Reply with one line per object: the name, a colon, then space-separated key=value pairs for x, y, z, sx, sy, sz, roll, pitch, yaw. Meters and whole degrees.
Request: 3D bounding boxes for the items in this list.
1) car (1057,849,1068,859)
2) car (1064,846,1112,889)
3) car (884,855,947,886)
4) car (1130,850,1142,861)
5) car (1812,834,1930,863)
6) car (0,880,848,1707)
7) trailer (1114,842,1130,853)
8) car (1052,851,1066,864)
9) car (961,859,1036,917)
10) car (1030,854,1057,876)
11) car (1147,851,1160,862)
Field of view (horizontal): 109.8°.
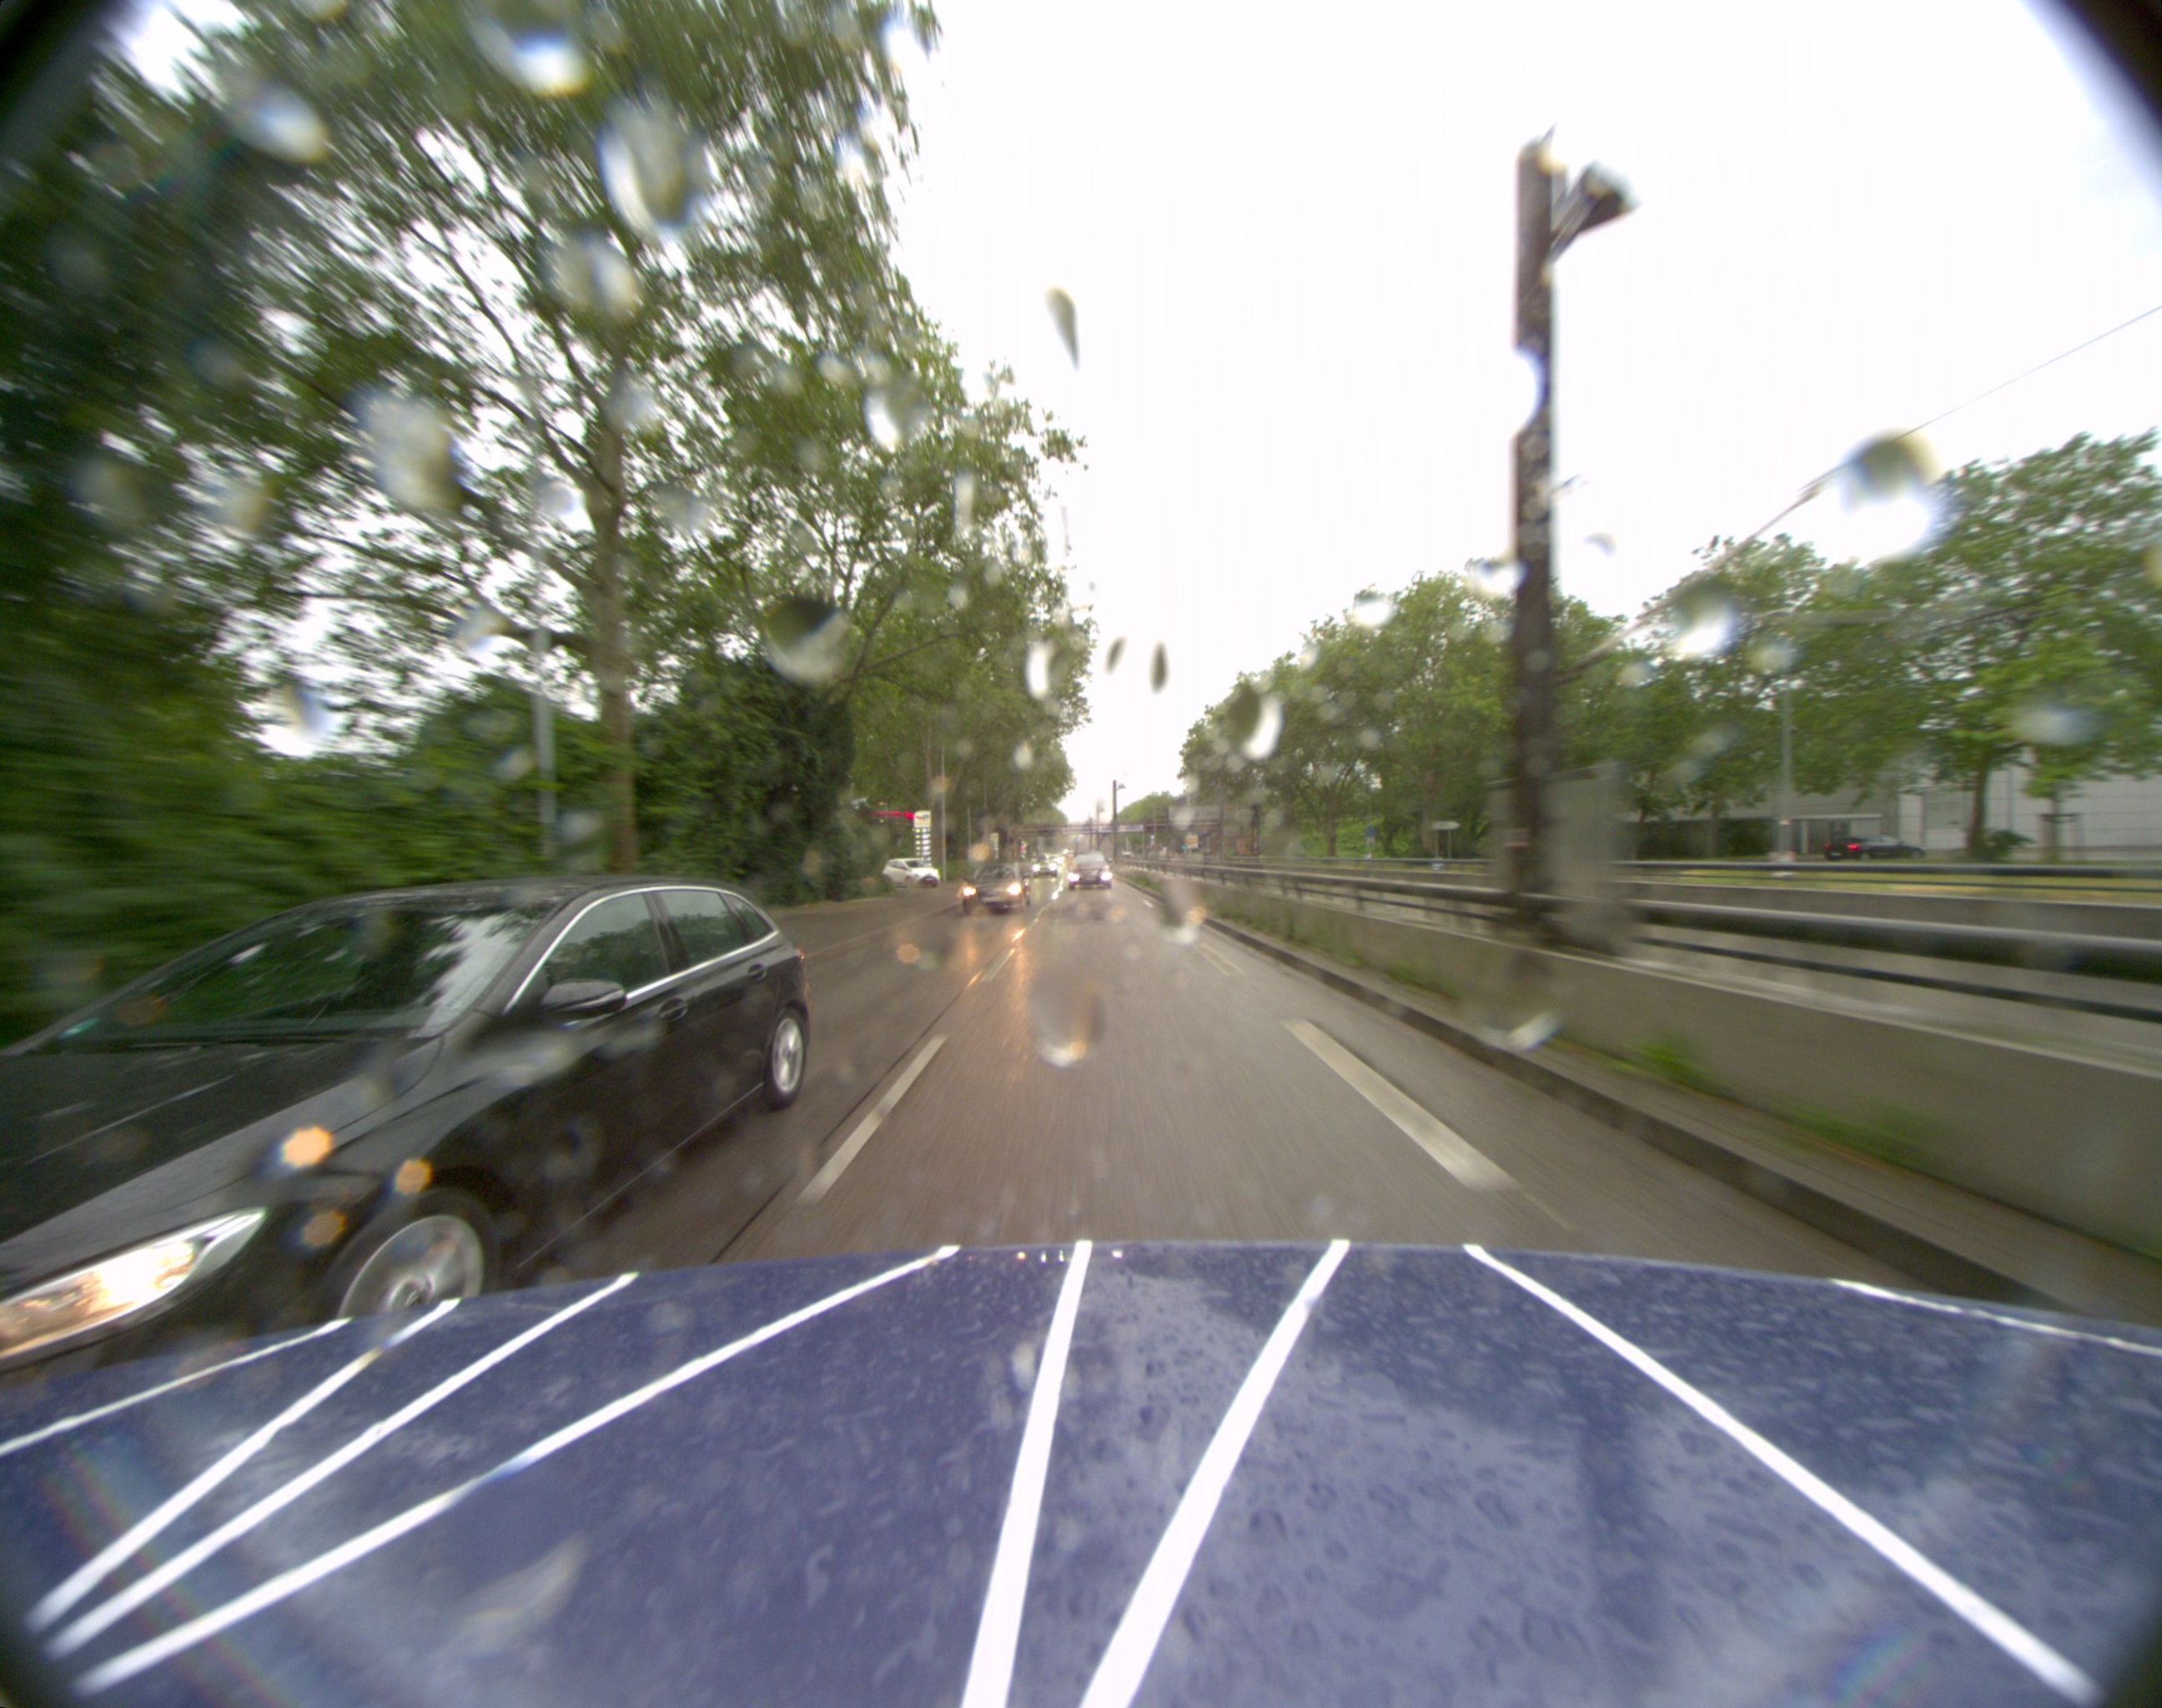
car: x=-3.267 y=0.023 z=136.798 sx=1.869 sy=1.689 sz=4.157 roll=-2 pitch=1 yaw=-1
car: x=0.370 y=0.600 z=34.953 sx=1.975 sy=1.794 sz=4.159 roll=-2 pitch=0 yaw=2
car: x=-8.612 y=0.880 z=39.352 sx=1.611 sy=1.423 sz=3.547 roll=-4 pitch=1 yaw=-42
car: x=11.464 y=0.312 z=159.215 sx=1.999 sy=2.002 sz=4.615 roll=-3 pitch=1 yaw=-1
car: x=41.358 y=-0.286 z=39.883 sx=3.787 sy=1.395 sz=2.002 roll=-2 pitch=1 yaw=14
car: x=-2.640 y=1.017 z=3.145 sx=1.821 sy=1.521 sz=4.421 roll=-3 pitch=1 yaw=1
trailer: x=13.188 y=-2.152 z=242.911 sx=3.332 sy=3.241 sz=11.116 roll=-3 pitch=1 yaw=-5
car: x=-3.017 y=0.535 z=105.726 sx=1.869 sy=1.689 sz=4.425 roll=-2 pitch=0 yaw=-1
car: x=-2.321 y=0.935 z=22.267 sx=1.641 sy=1.377 sz=3.781 roll=-3 pitch=1 yaw=1
car: x=-2.803 y=0.829 z=57.352 sx=1.821 sy=1.521 sz=4.158 roll=-2 pitch=0 yaw=-1
car: x=14.225 y=0.425 z=148.854 sx=1.999 sy=2.002 sz=4.509 roll=-3 pitch=1 yaw=-1
